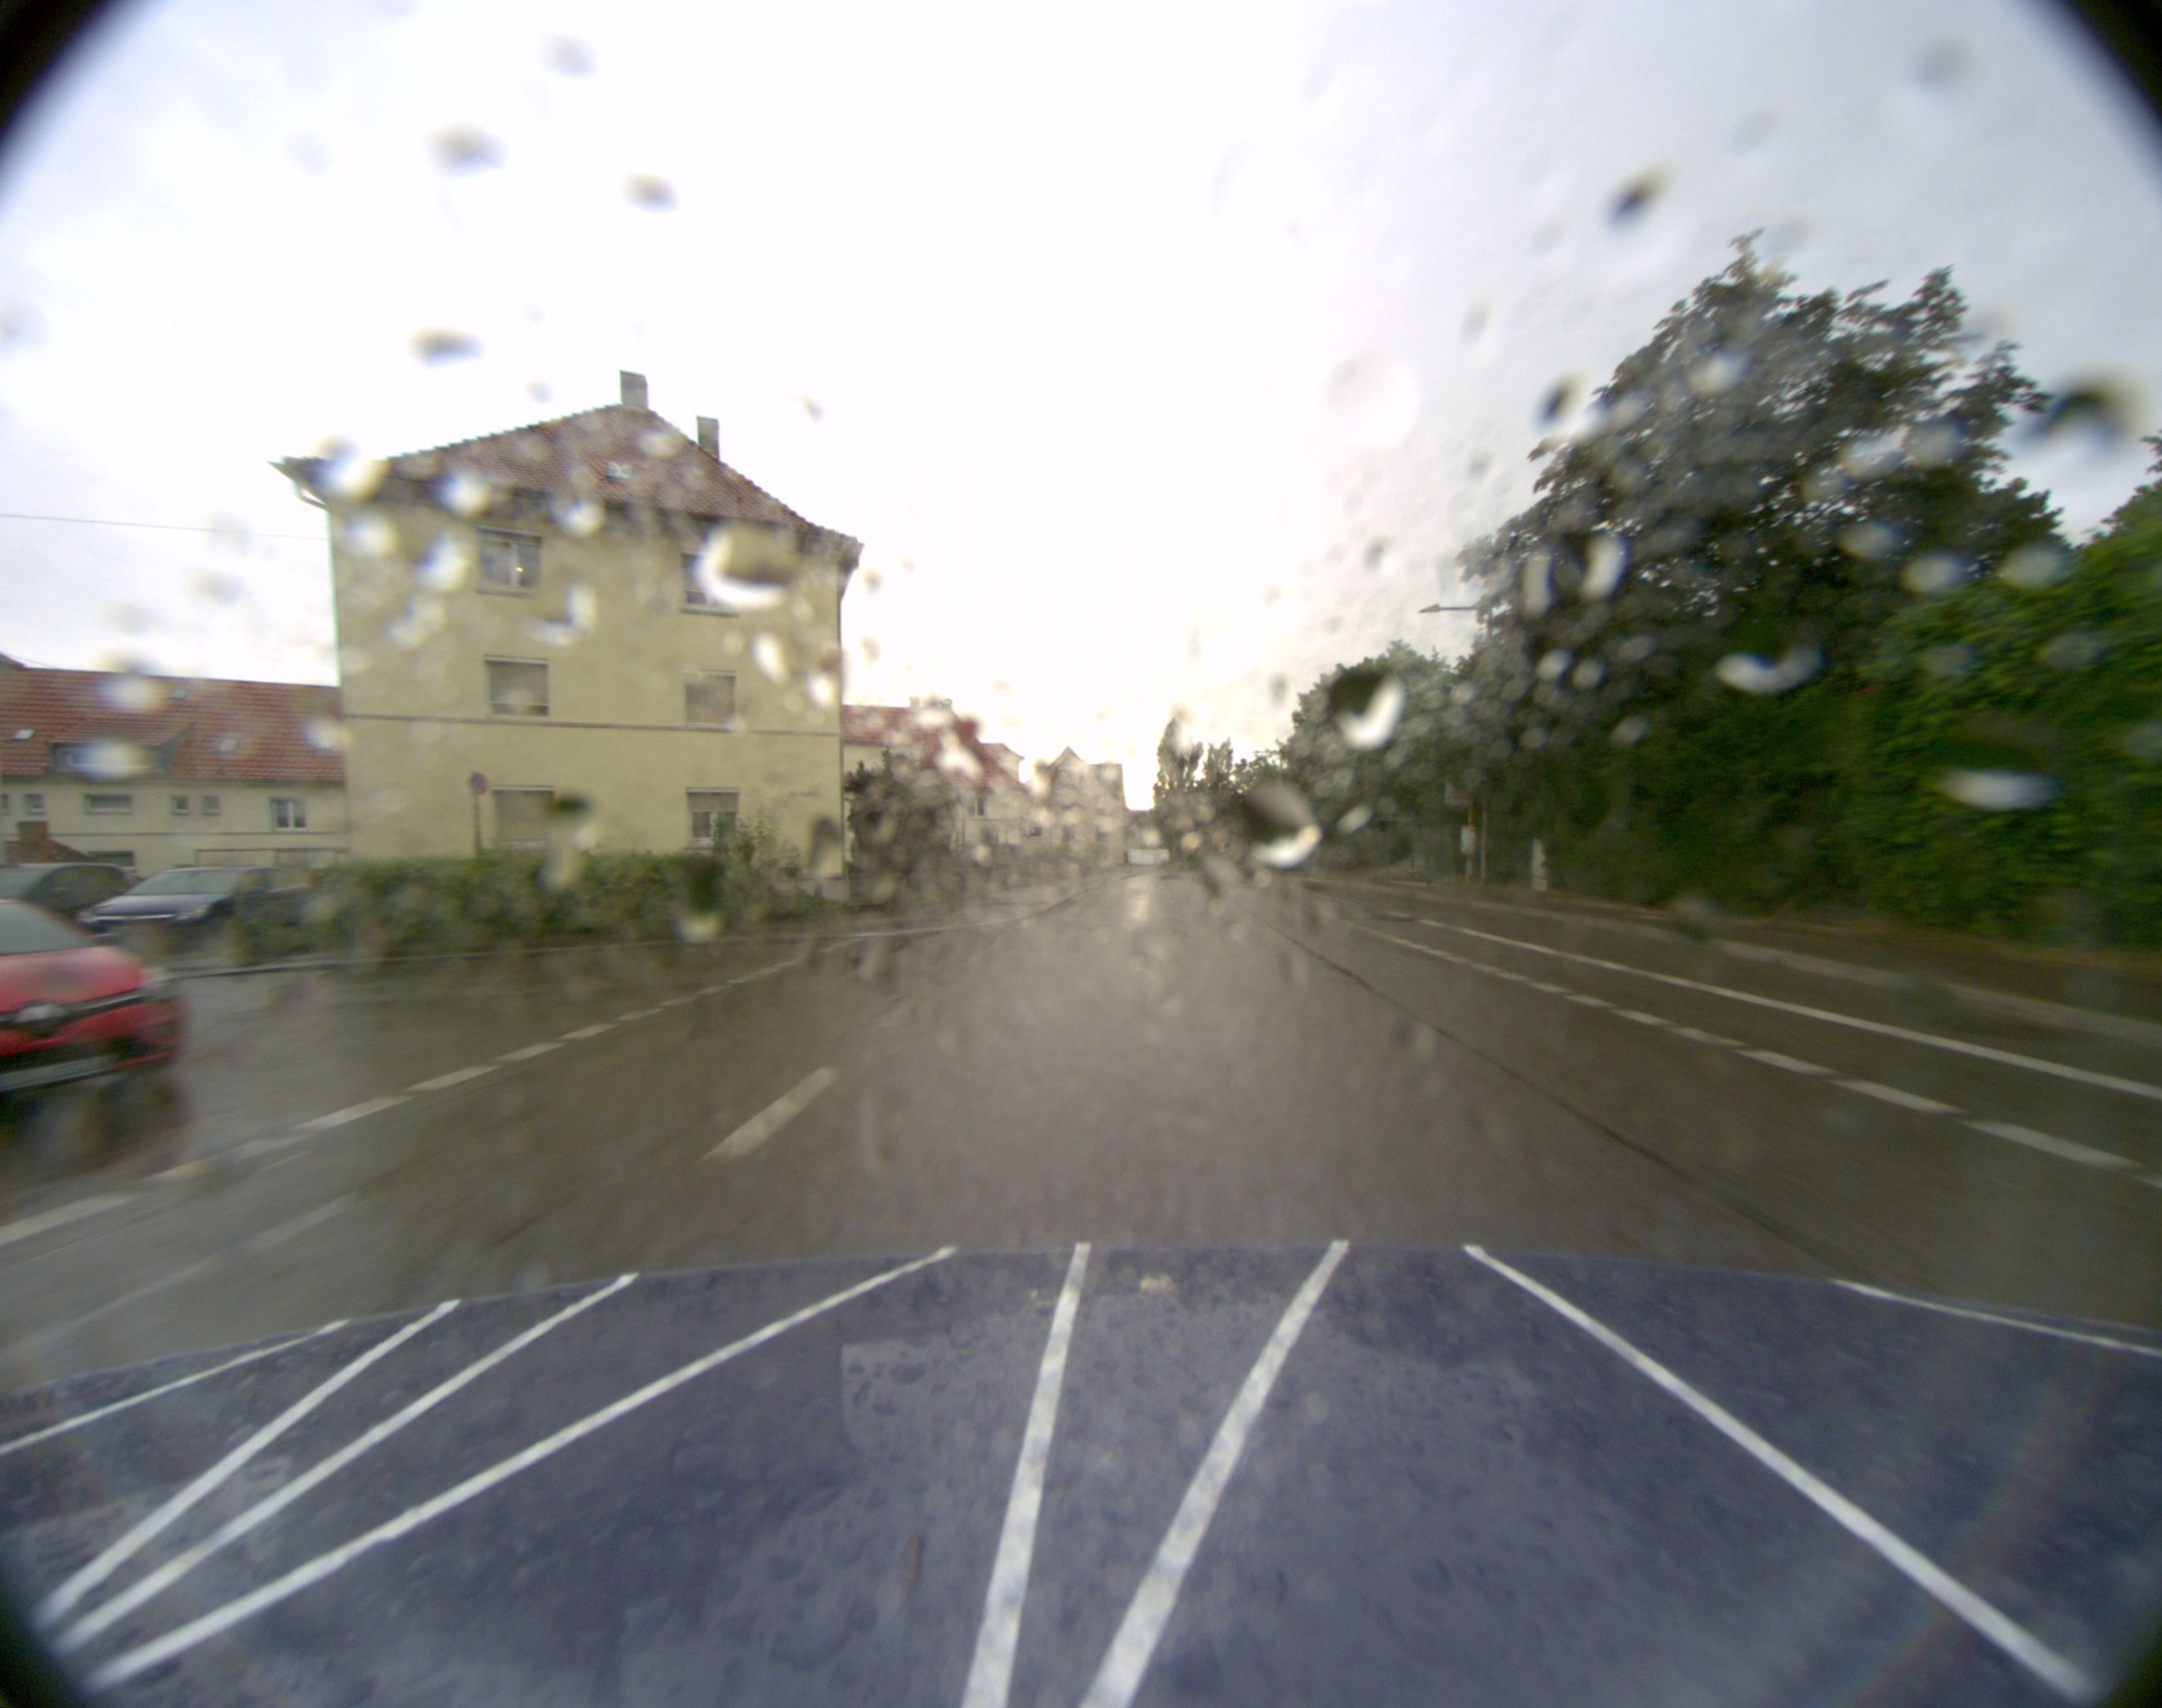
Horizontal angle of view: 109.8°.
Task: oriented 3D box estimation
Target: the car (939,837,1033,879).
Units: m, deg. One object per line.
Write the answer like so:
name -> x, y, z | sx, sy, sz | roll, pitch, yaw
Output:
car -> -4.396, 0.196, 35.117 | 3.940, 1.772, 1.767 | 2, 2, -22

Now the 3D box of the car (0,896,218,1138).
car -> -8.452, 1.077, 5.215 | 4.086, 1.399, 1.726 | -2, 0, 16

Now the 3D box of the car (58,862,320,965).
car -> -16.366, 0.978, 14.258 | 1.727, 1.436, 3.962 | -2, 3, -27

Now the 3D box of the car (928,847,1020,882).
car -> -4.595, 0.454, 32.583 | 3.530, 1.331, 1.684 | 2, 2, -23

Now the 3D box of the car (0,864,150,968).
car -> -18.541, 1.014, 13.104 | 1.727, 1.491, 3.673 | -2, 3, -27
